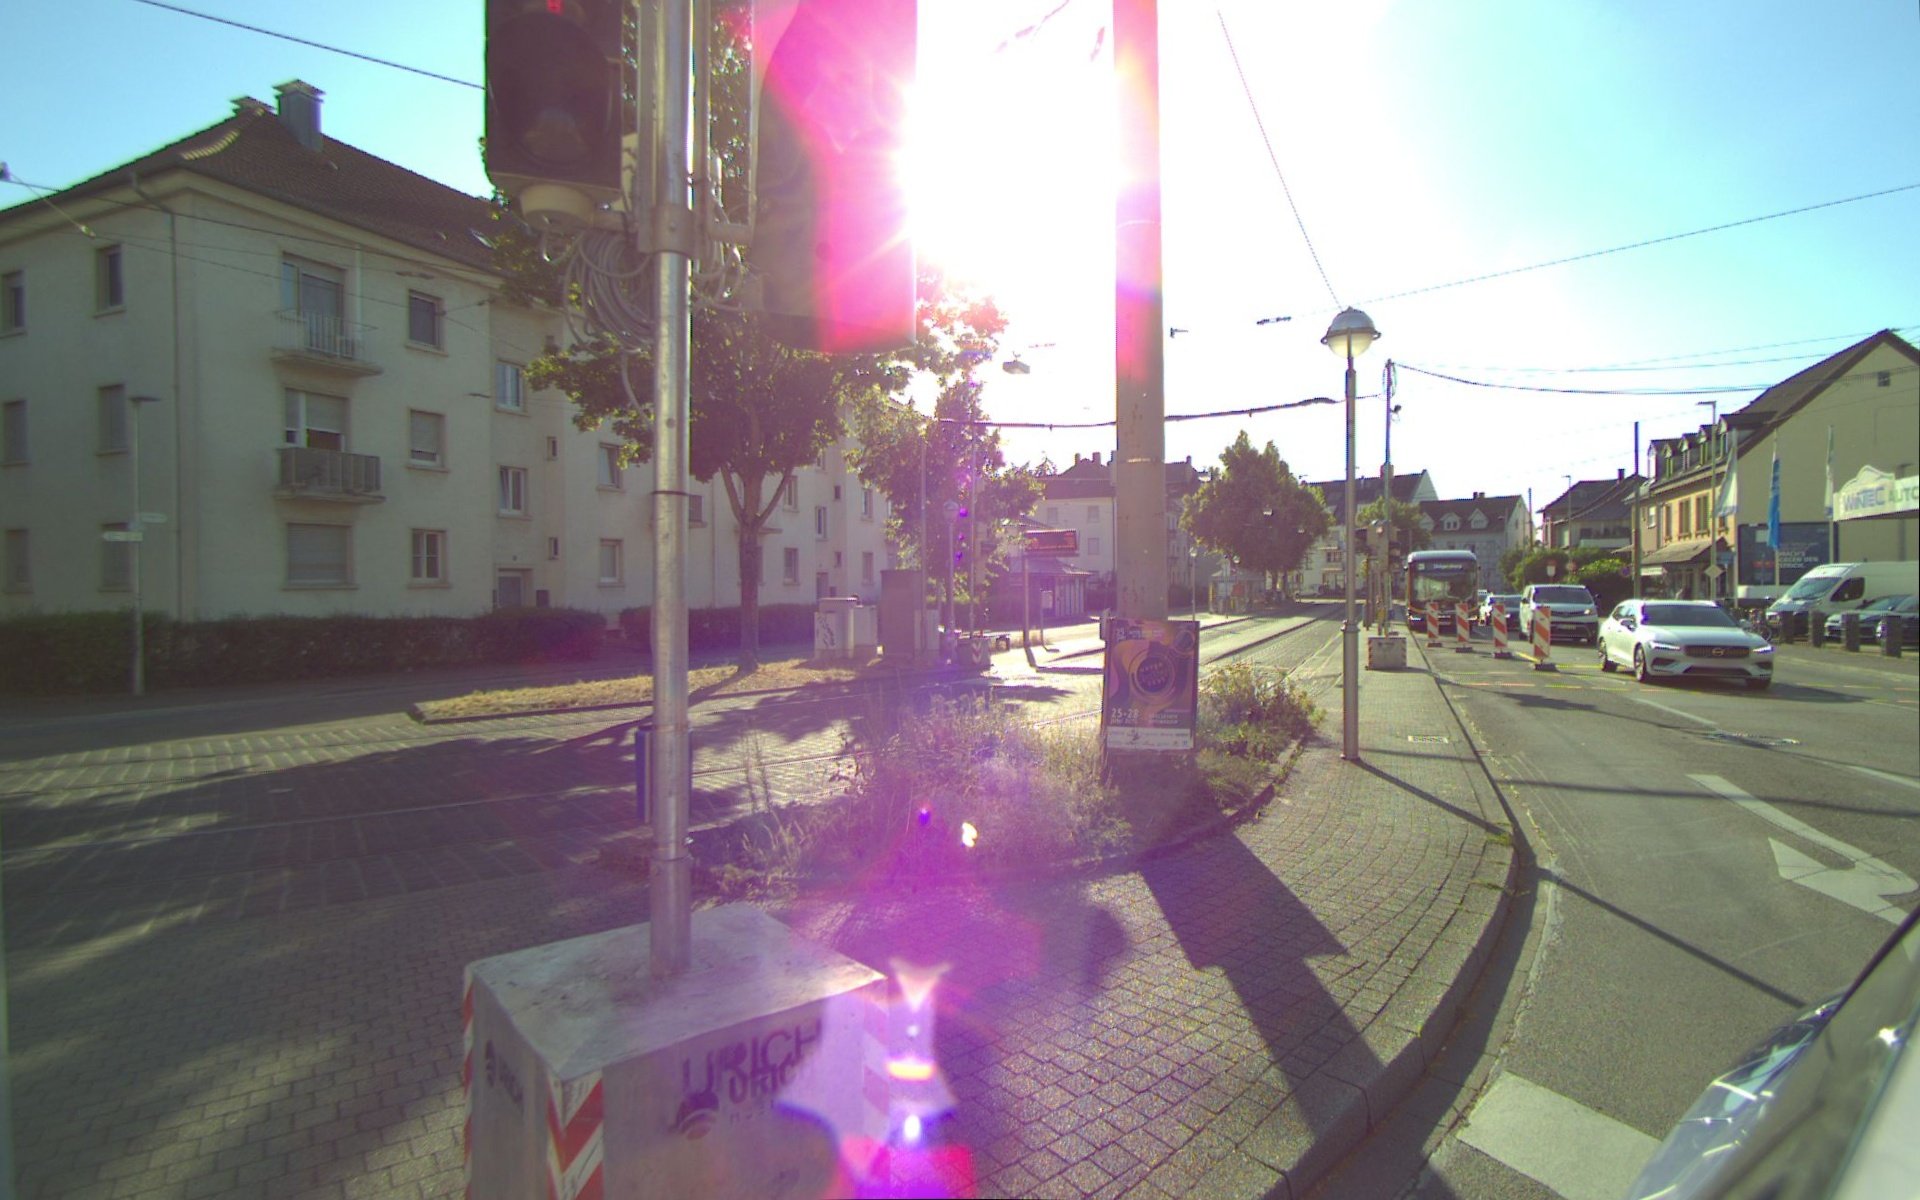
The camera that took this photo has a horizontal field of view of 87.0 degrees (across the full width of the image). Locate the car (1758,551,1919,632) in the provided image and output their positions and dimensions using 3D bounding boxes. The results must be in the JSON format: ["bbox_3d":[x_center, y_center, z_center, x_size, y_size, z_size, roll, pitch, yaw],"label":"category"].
[{"bbox_3d":[29.014,-0.285,32.569,4.900,2.485,2.114,0,1,3],"label":"car"}]

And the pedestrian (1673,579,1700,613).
[{"bbox_3d":[37.191,-0.223,51.814,0.795,1.735,0.859,0,1,3],"label":"pedestrian"}]

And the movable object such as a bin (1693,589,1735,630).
[{"bbox_3d":[28.027,0.328,37.605,0.781,1.482,1.049,0,1,-34],"label":"movable object such as a bin"}]

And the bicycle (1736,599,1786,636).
[{"bbox_3d":[25.083,0.533,31.714,0.717,1.100,1.780,0,1,21],"label":"bicycle"}]

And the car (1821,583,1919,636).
[{"bbox_3d":[28.296,0.253,30.106,3.951,1.515,1.744,0,1,-4],"label":"car"}]

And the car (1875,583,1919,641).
[{"bbox_3d":[26.721,0.307,27.508,3.365,1.515,1.597,-1,1,-26],"label":"car"}]

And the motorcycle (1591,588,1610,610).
[{"bbox_3d":[37.677,-0.066,59.553,0.702,1.232,2.166,1,1,26],"label":"motorcycle"}]

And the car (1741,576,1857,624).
[{"bbox_3d":[36.760,-0.027,44.445,3.631,2.039,1.441,1,1,22],"label":"car"}]

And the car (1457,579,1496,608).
[{"bbox_3d":[32.514,-0.413,63.787,1.950,1.726,4.784,1,1,24],"label":"car"}]

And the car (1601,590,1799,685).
[{"bbox_3d":[13.160,0.570,18.305,1.800,1.472,4.189,1,1,21],"label":"car"}]

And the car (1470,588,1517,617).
[{"bbox_3d":[29.137,0.108,55.393,1.950,1.477,4.784,1,1,24],"label":"car"}]

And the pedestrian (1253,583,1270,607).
[{"bbox_3d":[20.312,-0.329,68.125,0.808,1.631,0.844,0,1,-10],"label":"pedestrian"}]

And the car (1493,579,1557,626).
[{"bbox_3d":[23.733,0.082,42.666,1.950,1.850,4.991,1,1,24],"label":"car"}]

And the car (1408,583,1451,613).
[{"bbox_3d":[24.959,-0.140,53.872,1.950,1.477,4.784,1,1,24],"label":"car"}]

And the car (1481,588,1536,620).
[{"bbox_3d":[26.269,0.151,48.618,1.950,1.477,4.784,1,1,24],"label":"car"}]

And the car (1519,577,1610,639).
[{"bbox_3d":[19.518,0.193,32.871,1.950,1.850,4.991,1,1,24],"label":"car"}]

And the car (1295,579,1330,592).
[{"bbox_3d":[51.545,-2.180,148.015,4.574,1.879,1.716,1,1,41],"label":"car"}]

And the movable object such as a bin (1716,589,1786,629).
[{"bbox_3d":[29.626,0.325,37.913,1.761,1.482,1.049,0,1,-1],"label":"movable object such as a bin"}]

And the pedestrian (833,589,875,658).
[{"bbox_3d":[-2.597,0.554,24.854,0.780,1.640,0.823,0,1,15],"label":"pedestrian"}]

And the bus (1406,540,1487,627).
[{"bbox_3d":[21.382,-0.719,44.973,2.720,3.344,11.936,1,1,23],"label":"bus"}]
